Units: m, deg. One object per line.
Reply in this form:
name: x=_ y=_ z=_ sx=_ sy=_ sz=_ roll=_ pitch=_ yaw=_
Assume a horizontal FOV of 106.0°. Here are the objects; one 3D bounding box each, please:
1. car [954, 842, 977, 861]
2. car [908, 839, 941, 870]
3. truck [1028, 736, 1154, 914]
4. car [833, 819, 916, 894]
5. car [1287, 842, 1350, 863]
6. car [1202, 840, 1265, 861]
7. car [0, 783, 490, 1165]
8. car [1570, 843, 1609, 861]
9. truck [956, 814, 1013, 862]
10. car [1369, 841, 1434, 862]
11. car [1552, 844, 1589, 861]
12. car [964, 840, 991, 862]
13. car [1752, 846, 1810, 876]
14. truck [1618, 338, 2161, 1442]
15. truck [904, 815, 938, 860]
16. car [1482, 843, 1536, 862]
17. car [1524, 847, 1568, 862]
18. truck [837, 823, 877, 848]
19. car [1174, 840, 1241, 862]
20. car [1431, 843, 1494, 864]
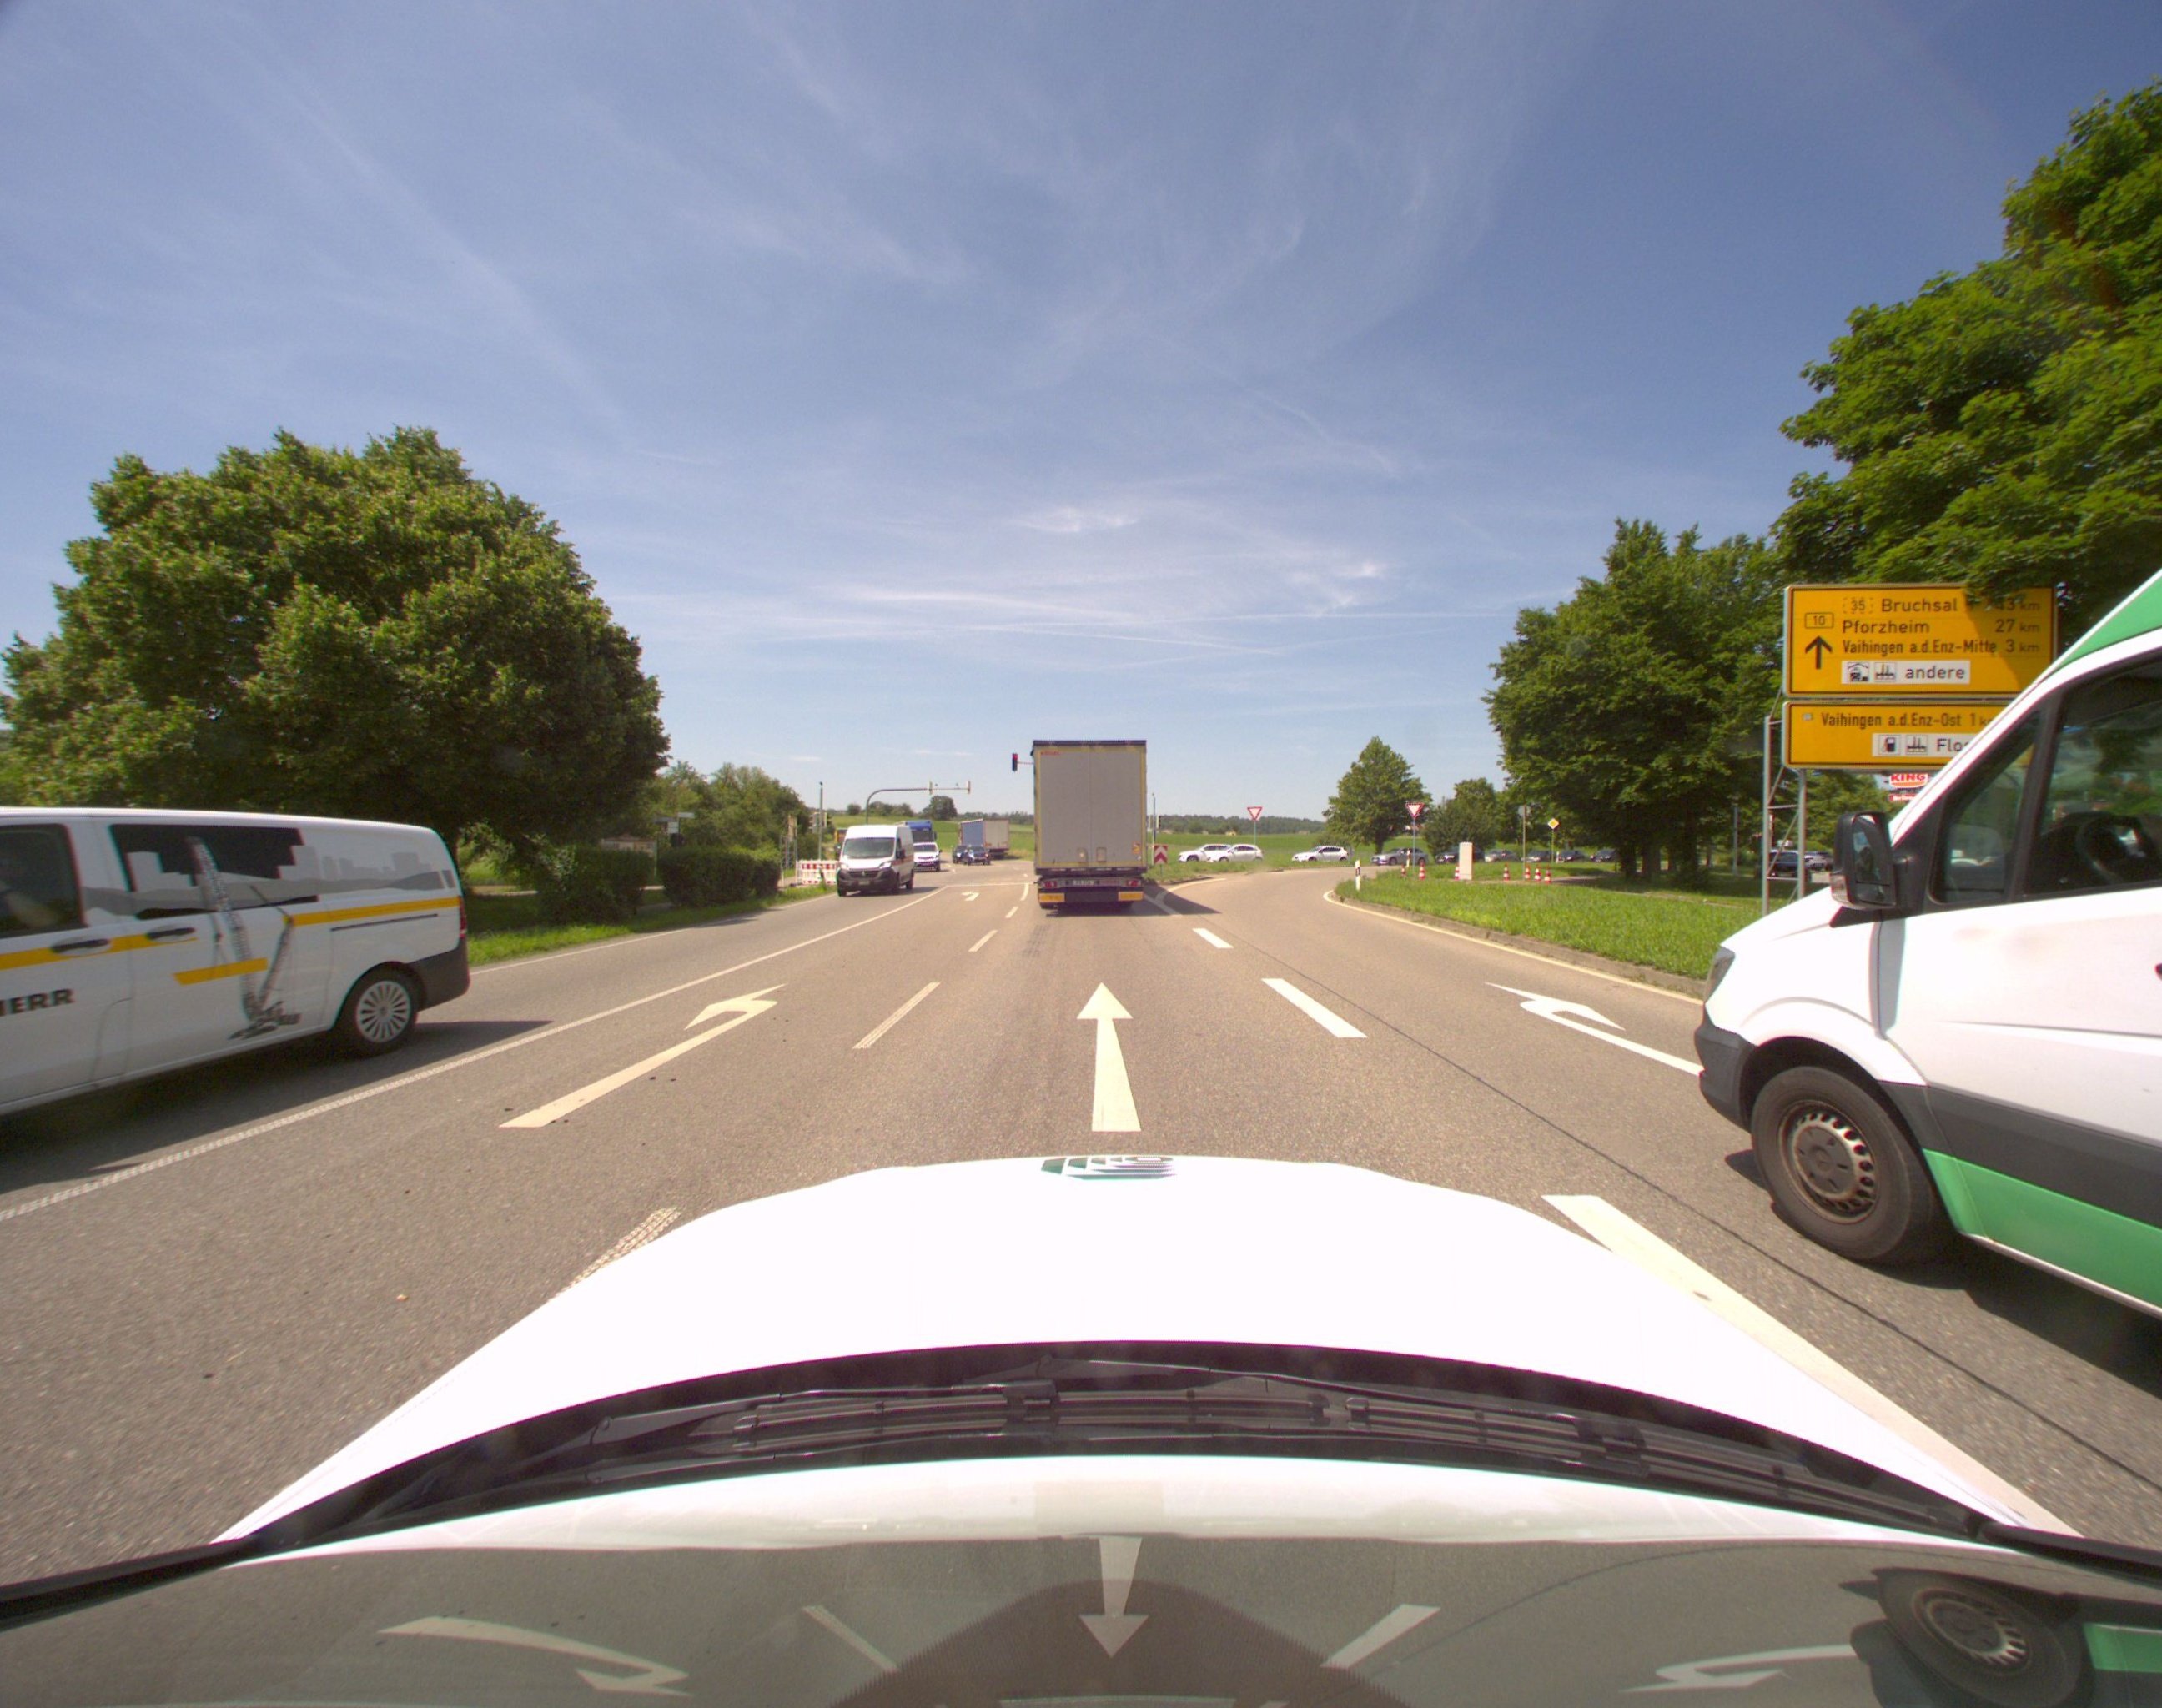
car: x=-10.221 y=-0.232 z=71.948 sx=1.772 sy=1.658 sz=3.983 roll=-2 pitch=1 yaw=-12
car: x=-10.338 y=0.049 z=53.526 sx=1.873 sy=1.886 sz=4.928 roll=-2 pitch=1 yaw=-14
truck: x=0.031 y=-0.692 z=22.920 sx=2.801 sy=3.946 sz=9.582 roll=0 pitch=1 yaw=-3
car: x=-7.407 y=0.044 z=29.789 sx=2.048 sy=2.451 sz=5.259 roll=-2 pitch=1 yaw=-5
car: x=17.137 y=-0.114 z=58.847 sx=4.105 sy=1.419 sz=1.789 roll=-1 pitch=-1 yaw=-19
car: x=10.629 y=-0.231 z=56.840 sx=3.959 sy=1.419 sz=1.822 roll=-1 pitch=-1 yaw=-9
car: x=-6.244 y=0.617 z=4.738 sx=1.868 sy=1.865 sz=5.138 roll=-2 pitch=0 yaw=-1
car: x=48.918 y=-0.173 z=78.321 sx=4.313 sy=1.698 sz=1.976 roll=0 pitch=-1 yaw=-40
truck: x=-10.439 y=-1.592 z=86.053 sx=2.968 sy=4.584 sz=16.220 roll=-1 pitch=1 yaw=-17
car: x=23.884 y=-0.133 z=60.748 sx=4.565 sy=1.510 sz=1.787 roll=0 pitch=-1 yaw=-22
car: x=44.992 y=-0.104 z=74.835 sx=4.256 sy=1.510 sz=1.779 roll=0 pitch=-1 yaw=-43
car: x=-8.385 y=-0.233 z=65.977 sx=1.773 sy=1.658 sz=3.983 roll=-2 pitch=1 yaw=-13
car: x=34.167 y=0.349 z=39.852 sx=1.737 sy=1.363 sz=4.348 roll=-1 pitch=-1 yaw=35
truck: x=3.676 y=0.084 z=1.159 sx=2.058 sy=2.737 sz=5.946 roll=-1 pitch=0 yaw=2
truck: x=-15.096 y=-1.523 z=76.566 sx=2.571 sy=4.029 sz=6.526 roll=-2 pitch=1 yaw=-15
car: x=34.892 y=-0.092 z=66.423 sx=4.577 sy=1.510 sz=1.783 roll=0 pitch=-1 yaw=-31
car: x=40.295 y=0.033 z=70.561 sx=4.584 sy=1.273 sz=1.780 roll=0 pitch=-1 yaw=-39
truck: x=-42.578 y=-3.350 z=154.476 sx=3.554 sy=4.240 sz=13.266 roll=0 pitch=-1 yaw=-33
car: x=9.442 y=-0.212 z=60.825 sx=4.619 sy=1.607 sz=1.994 roll=0 pitch=-1 yaw=-6
car: x=29.462 y=-0.051 z=62.915 sx=4.565 sy=1.510 sz=1.787 roll=1 pitch=-1 yaw=-22
